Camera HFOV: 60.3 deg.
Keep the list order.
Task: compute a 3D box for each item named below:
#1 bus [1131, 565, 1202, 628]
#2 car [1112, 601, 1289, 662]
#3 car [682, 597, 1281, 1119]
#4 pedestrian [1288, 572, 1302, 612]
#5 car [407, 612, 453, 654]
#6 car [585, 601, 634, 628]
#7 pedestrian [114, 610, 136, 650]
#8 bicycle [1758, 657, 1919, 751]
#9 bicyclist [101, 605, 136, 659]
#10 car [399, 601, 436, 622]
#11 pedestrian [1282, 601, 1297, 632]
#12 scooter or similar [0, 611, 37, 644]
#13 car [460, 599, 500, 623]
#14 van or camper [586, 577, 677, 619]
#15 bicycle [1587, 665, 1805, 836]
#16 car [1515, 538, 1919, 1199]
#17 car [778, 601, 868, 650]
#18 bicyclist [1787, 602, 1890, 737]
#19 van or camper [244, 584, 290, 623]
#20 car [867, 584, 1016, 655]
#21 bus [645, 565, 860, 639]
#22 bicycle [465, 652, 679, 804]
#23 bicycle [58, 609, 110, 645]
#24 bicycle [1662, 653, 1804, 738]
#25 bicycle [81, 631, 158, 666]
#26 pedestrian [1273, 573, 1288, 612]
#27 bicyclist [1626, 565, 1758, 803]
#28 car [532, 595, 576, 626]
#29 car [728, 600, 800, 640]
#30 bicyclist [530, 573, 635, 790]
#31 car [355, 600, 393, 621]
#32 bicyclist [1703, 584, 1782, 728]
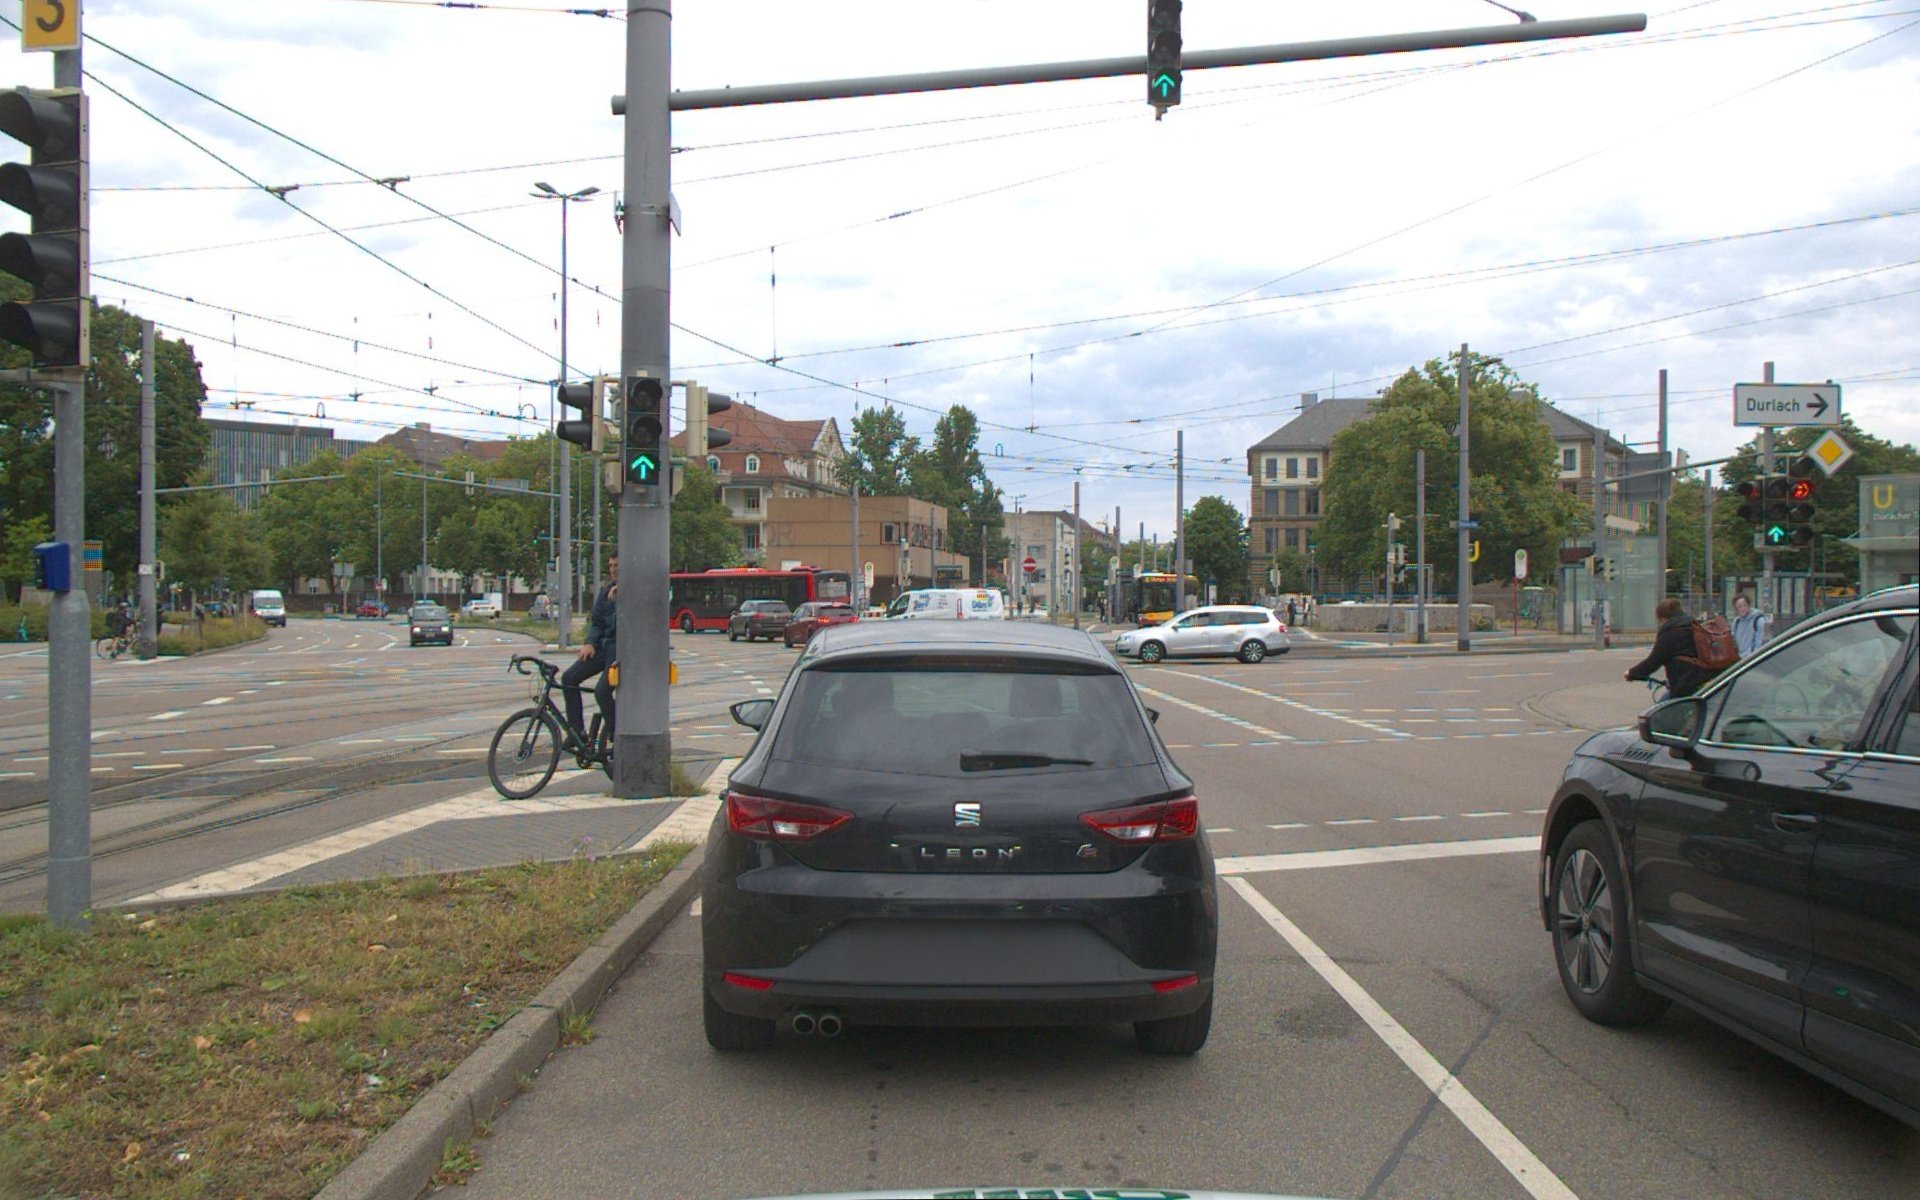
[{"bbox_3d":[11.877,-0.197,94.139,2.952,3.325,13.054,0,0,12],"label":"bus"},{"bbox_3d":[6.395,0.831,44.354,4.518,1.508,1.726,-1,0,1],"label":"car"},{"bbox_3d":[0.037,0.746,6.758,1.710,1.489,3.999,1,0,-1],"label":"car"},{"bbox_3d":[36.982,-0.867,182.677,1.280,4.328,1.346,0,0,0],"label":"pedestrian"},{"bbox_3d":[-20.876,1.268,65.064,1.594,1.542,3.644,-1,0,-19],"label":"car"},{"bbox_3d":[-20.701,0.842,97.552,1.968,1.566,3.968,0,0,-25],"label":"car"},{"bbox_3d":[-37.297,1.344,73.876,0.734,1.764,0.683,-1,0,-15],"label":"pedestrian"},{"bbox_3d":[10.346,1.202,19.451,1.912,1.016,0.598,0,0,-22],"label":"bicycle"},{"bbox_3d":[-27.090,1.023,53.262,0.800,1.685,0.789,-3,-1,-19],"label":"bicyclist"},{"bbox_3d":[-43.697,0.918,133.136,1.975,1.668,3.956,0,0,-32],"label":"car"},{"bbox_3d":[20.266,1.010,101.787,0.806,1.886,1.022,-1,0,15],"label":"pedestrian"},{"bbox_3d":[-38.471,1.120,67.098,1.753,1.325,0.623,-1,0,-33],"label":"scooter or similar"},{"bbox_3d":[-36.681,0.840,126.262,1.974,1.780,3.956,0,0,-32],"label":"car"},{"bbox_3d":[-27.339,-0.195,137.786,2.828,3.390,7.102,-2,-1,44],"label":"van or camper"},{"bbox_3d":[5.466,1.078,12.439,0.612,1.073,2.125,0,0,-3],"label":"bicycle"},{"bbox_3d":[3.329,0.681,4.685,1.865,1.687,4.513,0,0,-2],"label":"car"},{"bbox_3d":[-4.849,0.858,58.047,1.834,1.628,4.171,0,0,-25],"label":"car"},{"bbox_3d":[10.301,0.796,19.405,0.871,1.548,0.668,0,0,-21],"label":"bicyclist"},{"bbox_3d":[-47.362,0.250,112.973,2.255,2.571,5.518,-1,0,-29],"label":"van or camper"},{"bbox_3d":[-0.613,0.572,50.498,1.980,2.054,4.963,0,0,-38],"label":"car"},{"bbox_3d":[-10.206,0.125,80.021,12.152,3.355,3.051,0,-1,41],"label":"bus"},{"bbox_3d":[-3.054,0.980,13.115,1.599,1.089,0.520,0,0,-41],"label":"bicycle"},{"bbox_3d":[-36.984,1.126,69.867,0.829,1.474,2.255,0,0,4],"label":"bicycle"},{"bbox_3d":[9.748,1.184,20.833,1.963,1.016,0.574,1,-1,-28],"label":"bicycle"},{"bbox_3d":[-27.044,1.550,53.254,2.081,1.046,0.791,-2,-1,-19],"label":"bicycle"},{"bbox_3d":[35.465,-0.835,182.950,1.358,4.328,1.346,0,0,0],"label":"pedestrian"},{"bbox_3d":[5.456,0.604,12.362,0.603,1.720,0.805,0,0,-3],"label":"bicyclist"},{"bbox_3d":[-27.119,0.674,110.377,1.971,2.049,3.963,0,0,-28],"label":"car"},{"bbox_3d":[-8.103,0.802,68.091,1.966,1.593,4.177,0,0,-22],"label":"car"},{"bbox_3d":[-3.006,0.629,13.167,0.649,1.668,0.510,0,-1,-40],"label":"bicyclist"},{"bbox_3d":[-49.780,0.867,140.461,1.979,1.803,3.946,0,0,-37],"label":"car"},{"bbox_3d":[9.914,0.701,20.962,0.724,1.782,0.581,1,-1,-27],"label":"bicyclist"}]
